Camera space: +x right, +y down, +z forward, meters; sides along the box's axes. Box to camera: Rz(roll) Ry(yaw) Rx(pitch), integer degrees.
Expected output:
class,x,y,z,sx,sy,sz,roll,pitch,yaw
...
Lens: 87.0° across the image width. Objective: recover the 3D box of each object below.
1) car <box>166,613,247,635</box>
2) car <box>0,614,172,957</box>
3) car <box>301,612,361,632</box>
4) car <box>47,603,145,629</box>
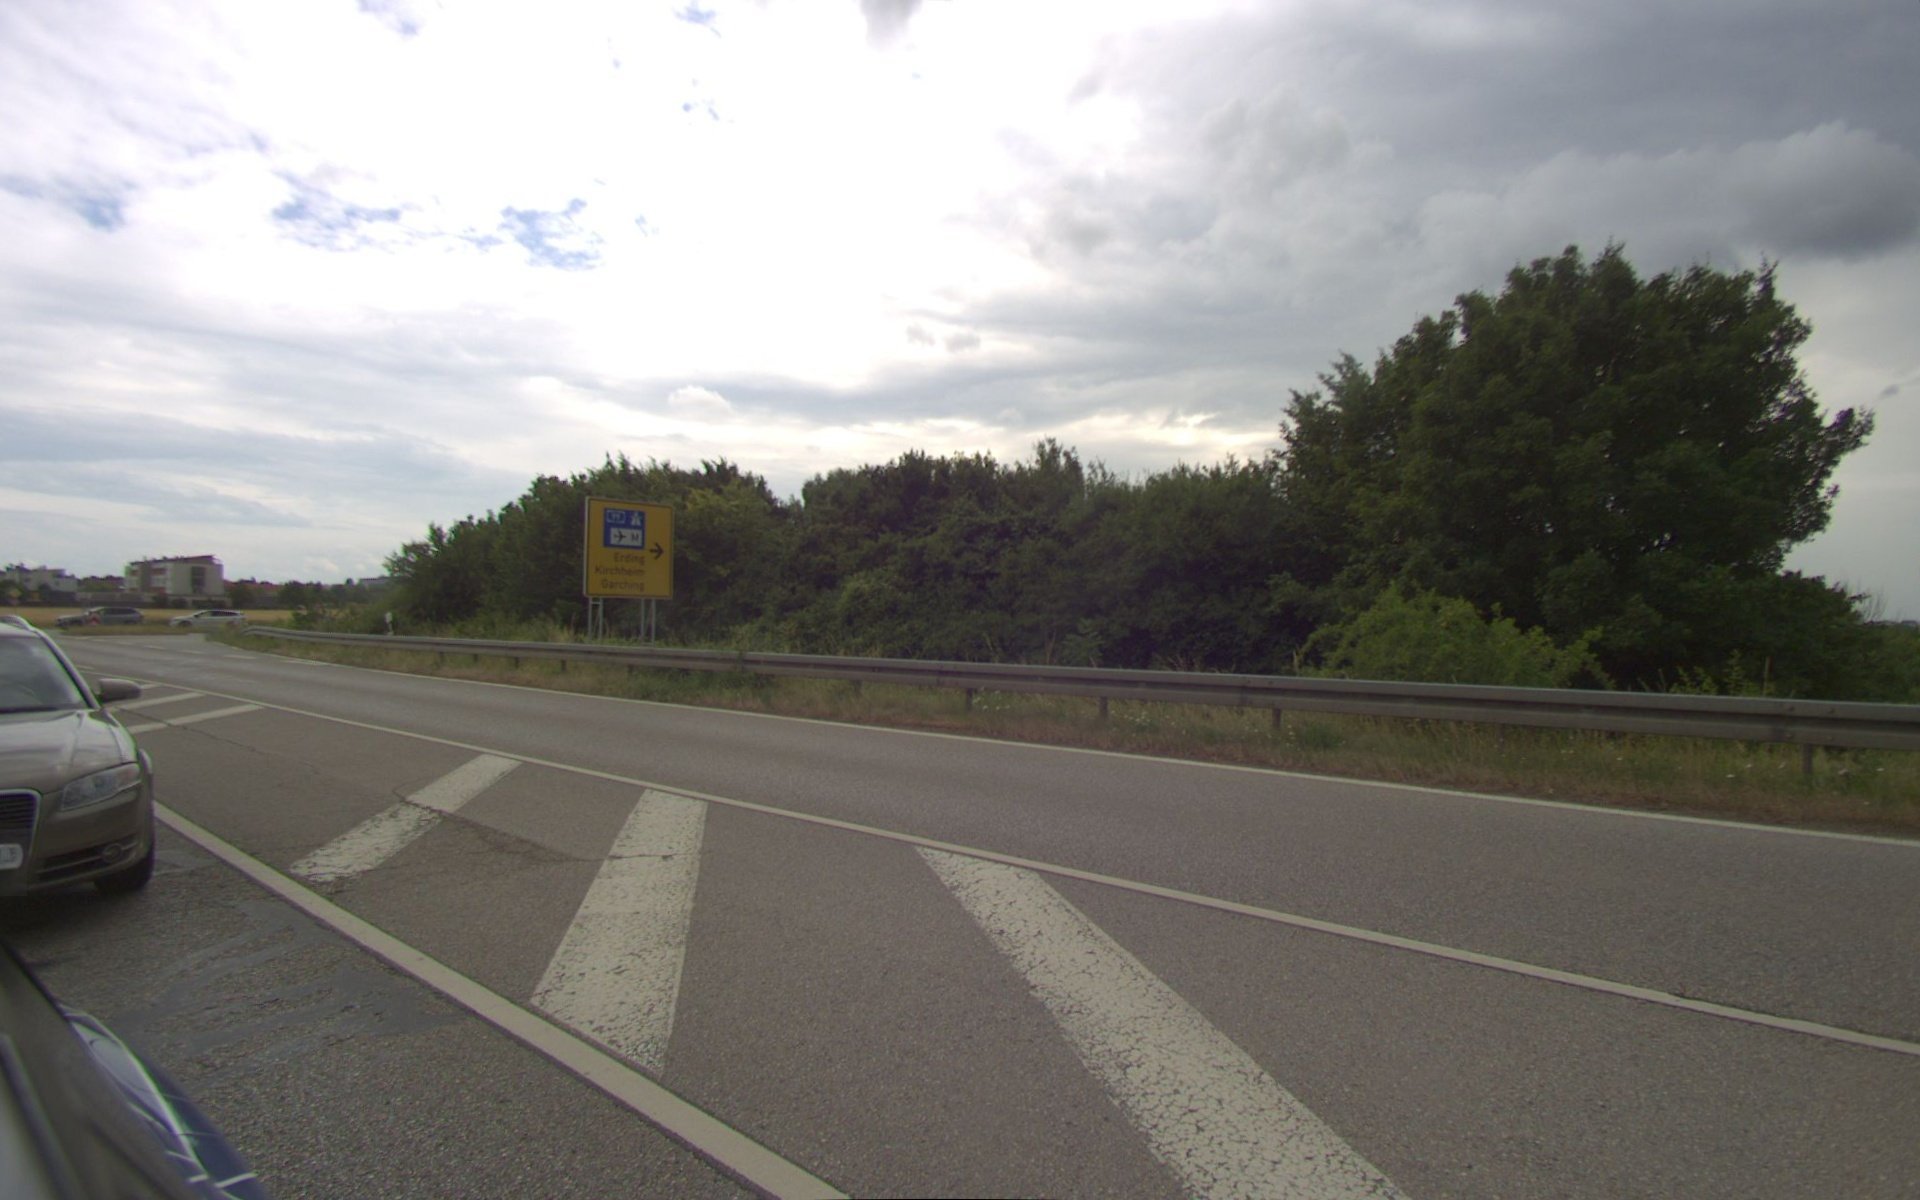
class,x,y,z,sx,sy,sz,roll,pitch,yaw
car,-54.576,1.725,73.333,4.604,1.510,2.004,1,-1,-39
car,-5.832,0.805,5.480,4.202,1.455,1.708,-1,-1,41
car,-48.411,1.696,77.924,3.662,1.510,1.732,1,-1,-42
car,-58.623,1.104,68.747,1.997,1.702,4.757,-1,-1,37
